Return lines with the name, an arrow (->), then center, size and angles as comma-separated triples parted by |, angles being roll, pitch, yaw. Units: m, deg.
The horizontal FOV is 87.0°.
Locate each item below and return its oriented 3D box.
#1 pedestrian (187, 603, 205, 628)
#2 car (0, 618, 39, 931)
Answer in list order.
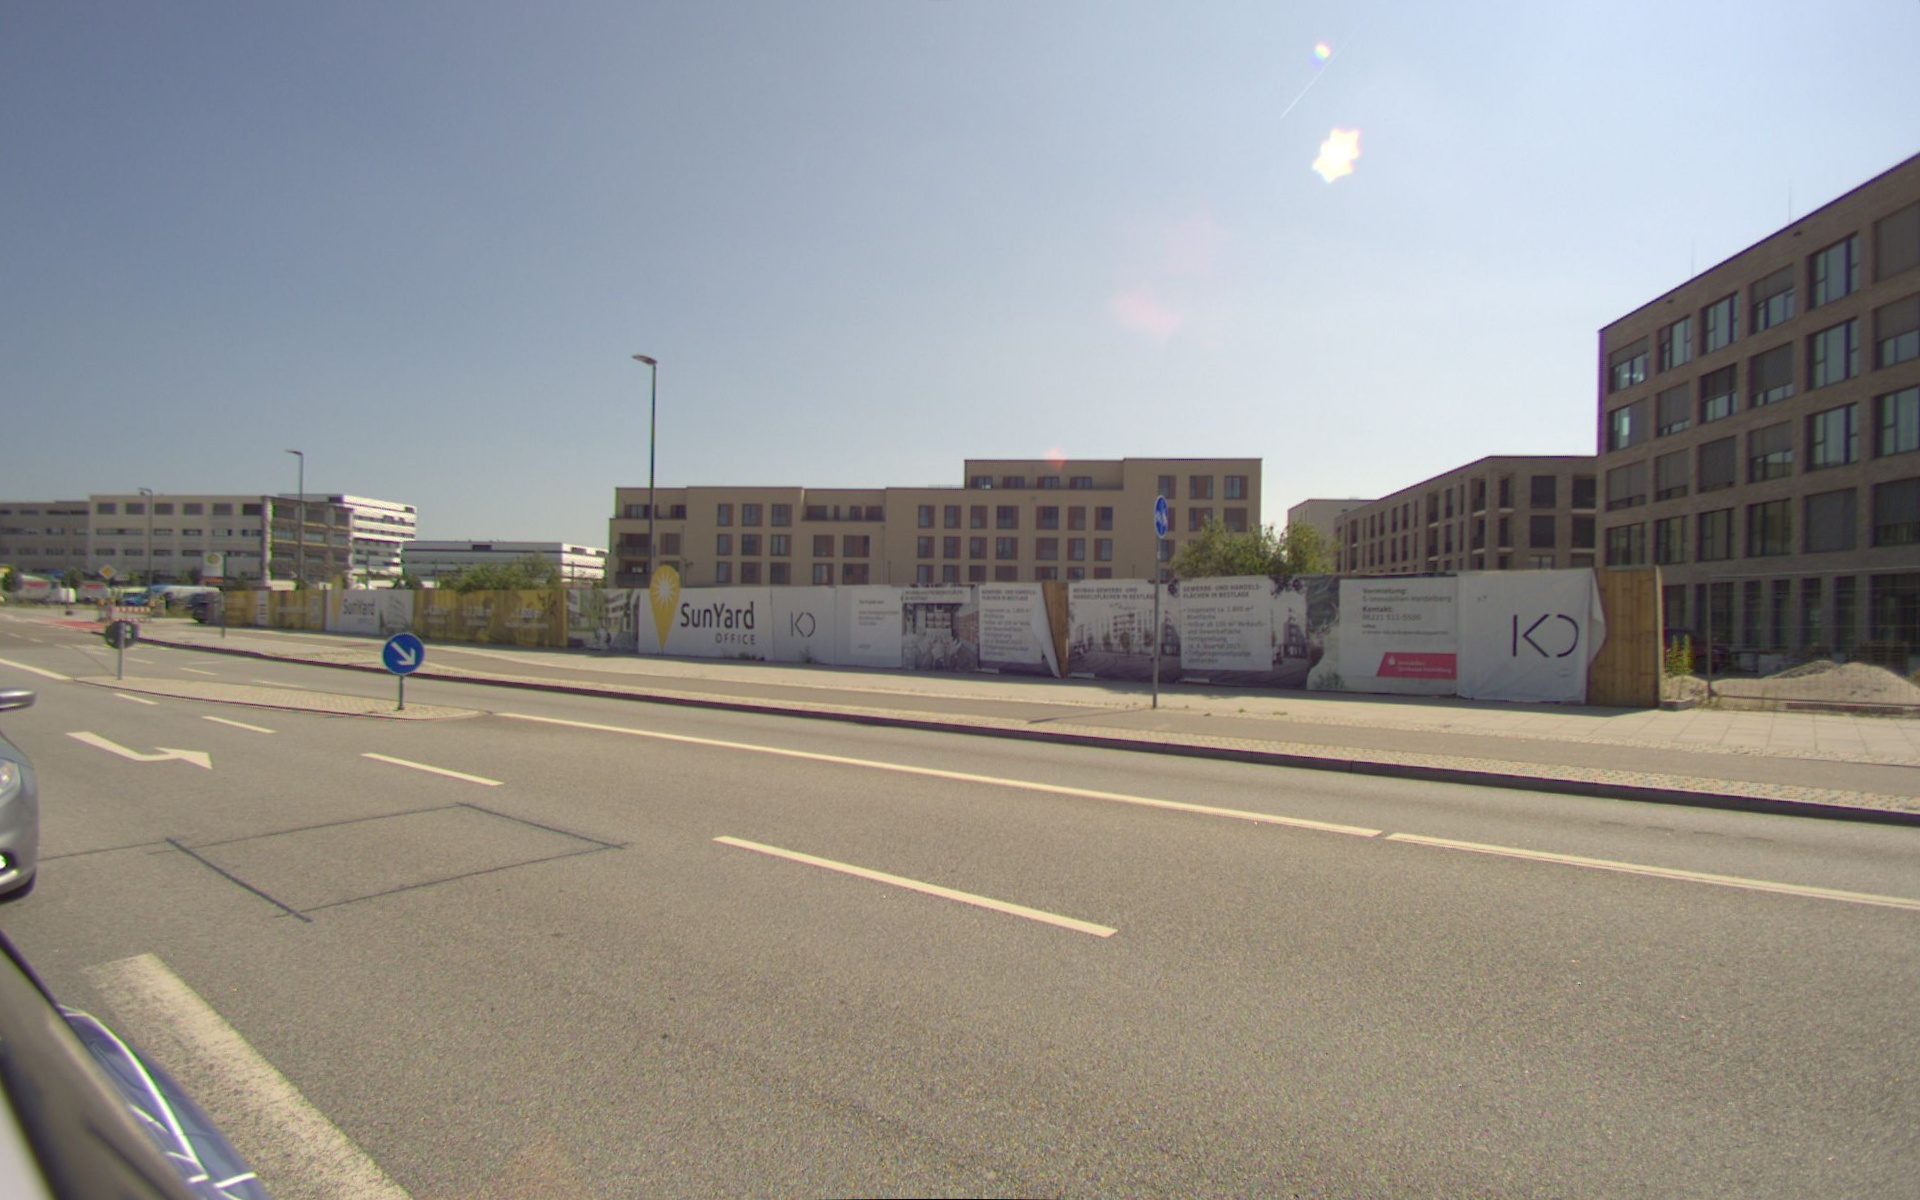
pedestrian -> -49.135, 0.985, 65.081 | 0.610, 1.598, 0.703 | -1, 0, 5
car -> -6.318, 0.806, 5.298 | 4.134, 1.390, 1.762 | -1, 0, 41
